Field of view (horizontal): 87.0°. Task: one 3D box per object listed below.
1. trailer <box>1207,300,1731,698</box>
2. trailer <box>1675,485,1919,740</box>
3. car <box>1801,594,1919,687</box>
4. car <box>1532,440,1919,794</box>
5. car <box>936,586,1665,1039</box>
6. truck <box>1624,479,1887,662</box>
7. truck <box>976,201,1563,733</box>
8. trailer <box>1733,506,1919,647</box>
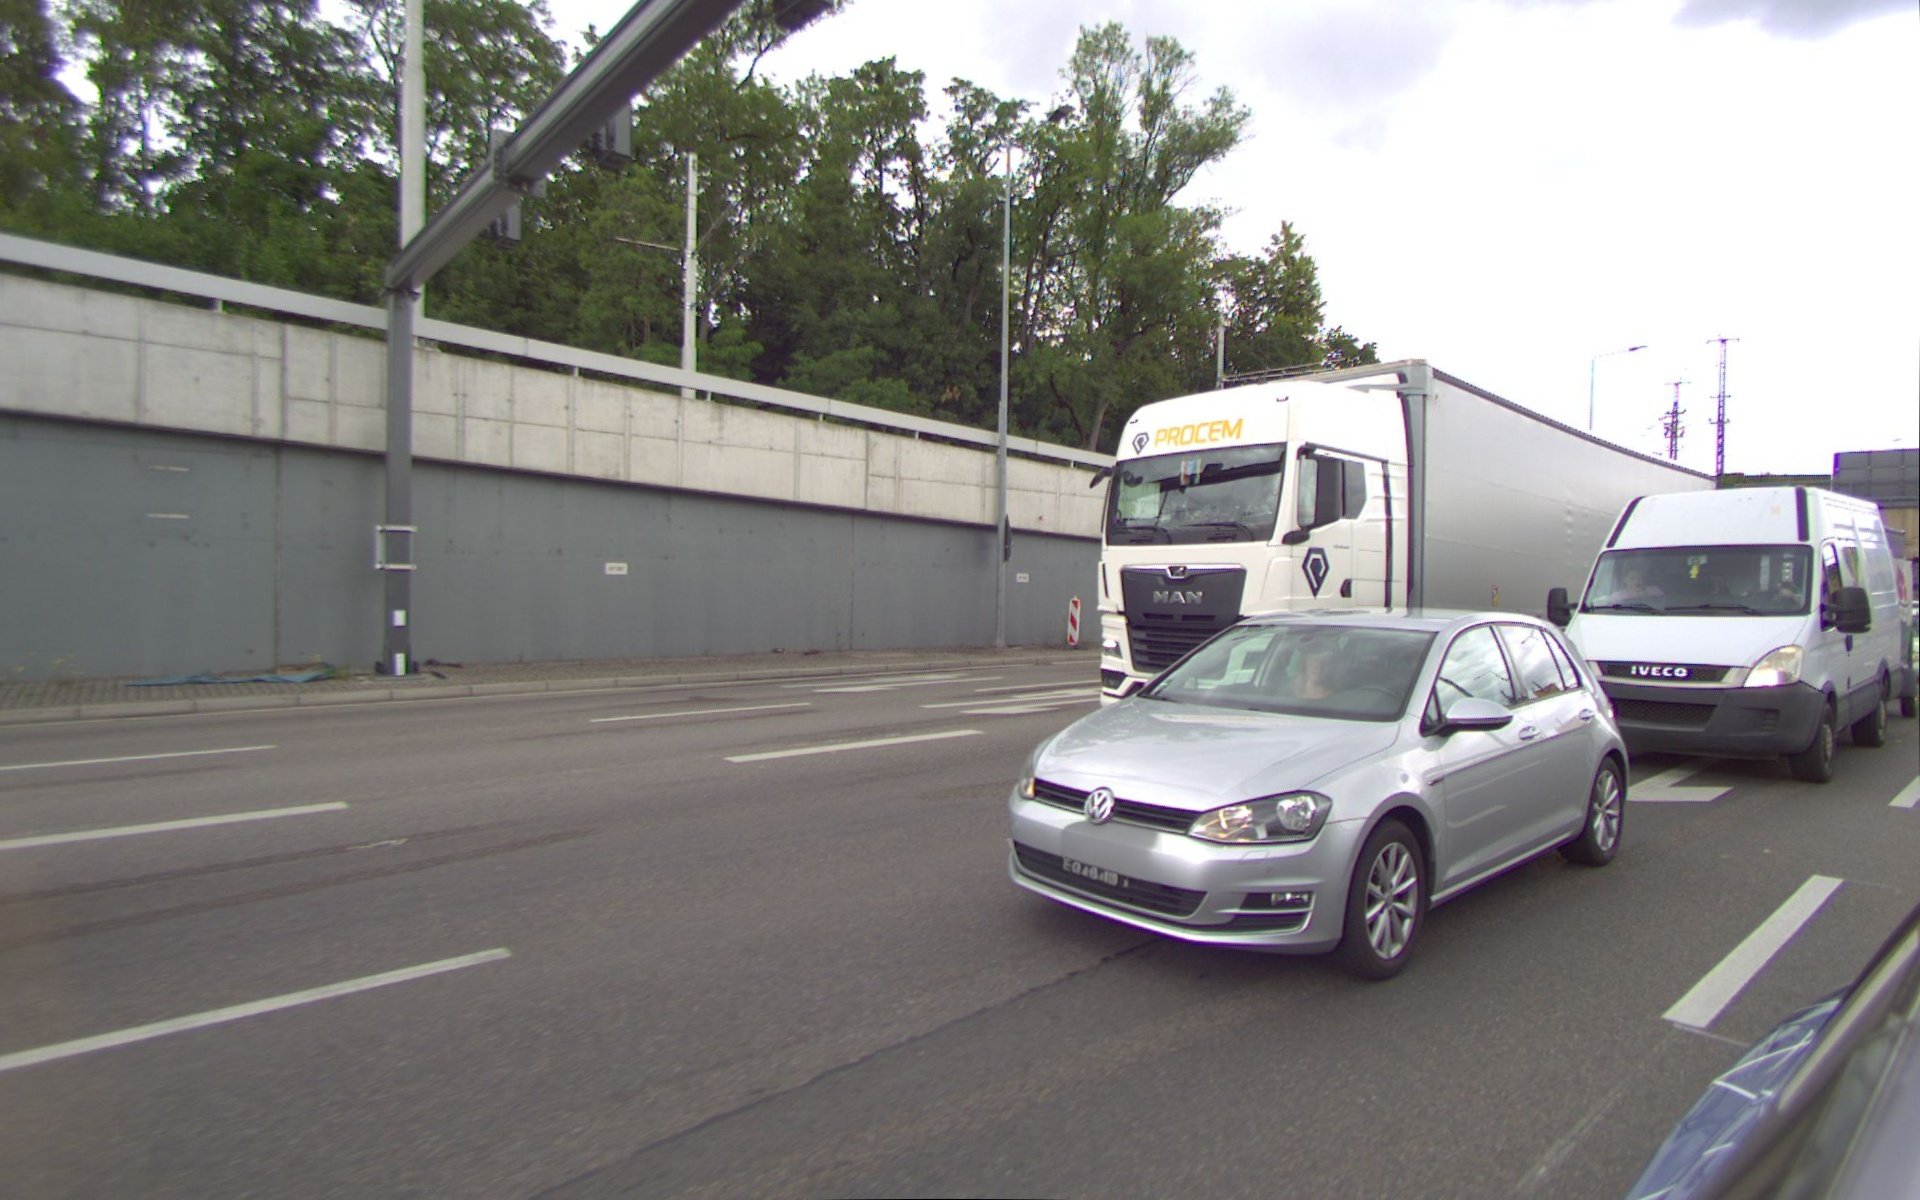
[{"bbox_3d":[9.333,-1.213,17.301,11.903,4.690,3.811,0,0,-41],"label":"trailer"},{"bbox_3d":[11.064,0.070,13.009,4.729,2.671,2.106,-1,2,-43],"label":"trailer"},{"bbox_3d":[16.264,0.629,17.599,4.269,1.415,1.720,0,1,-39],"label":"car"},{"bbox_3d":[8.071,0.068,10.306,5.838,2.661,2.062,-1,1,-41],"label":"car"},{"bbox_3d":[1.967,0.662,5.224,3.967,1.400,1.767,-1,2,-40],"label":"car"},{"bbox_3d":[22.408,-0.700,28.158,10.790,4.194,3.731,0,0,-41],"label":"truck"},{"bbox_3d":[4.181,-1.188,12.768,7.312,4.690,3.811,0,0,-41],"label":"truck"},{"bbox_3d":[30.616,-0.729,35.162,10.788,4.194,3.731,0,0,-40],"label":"trailer"}]
